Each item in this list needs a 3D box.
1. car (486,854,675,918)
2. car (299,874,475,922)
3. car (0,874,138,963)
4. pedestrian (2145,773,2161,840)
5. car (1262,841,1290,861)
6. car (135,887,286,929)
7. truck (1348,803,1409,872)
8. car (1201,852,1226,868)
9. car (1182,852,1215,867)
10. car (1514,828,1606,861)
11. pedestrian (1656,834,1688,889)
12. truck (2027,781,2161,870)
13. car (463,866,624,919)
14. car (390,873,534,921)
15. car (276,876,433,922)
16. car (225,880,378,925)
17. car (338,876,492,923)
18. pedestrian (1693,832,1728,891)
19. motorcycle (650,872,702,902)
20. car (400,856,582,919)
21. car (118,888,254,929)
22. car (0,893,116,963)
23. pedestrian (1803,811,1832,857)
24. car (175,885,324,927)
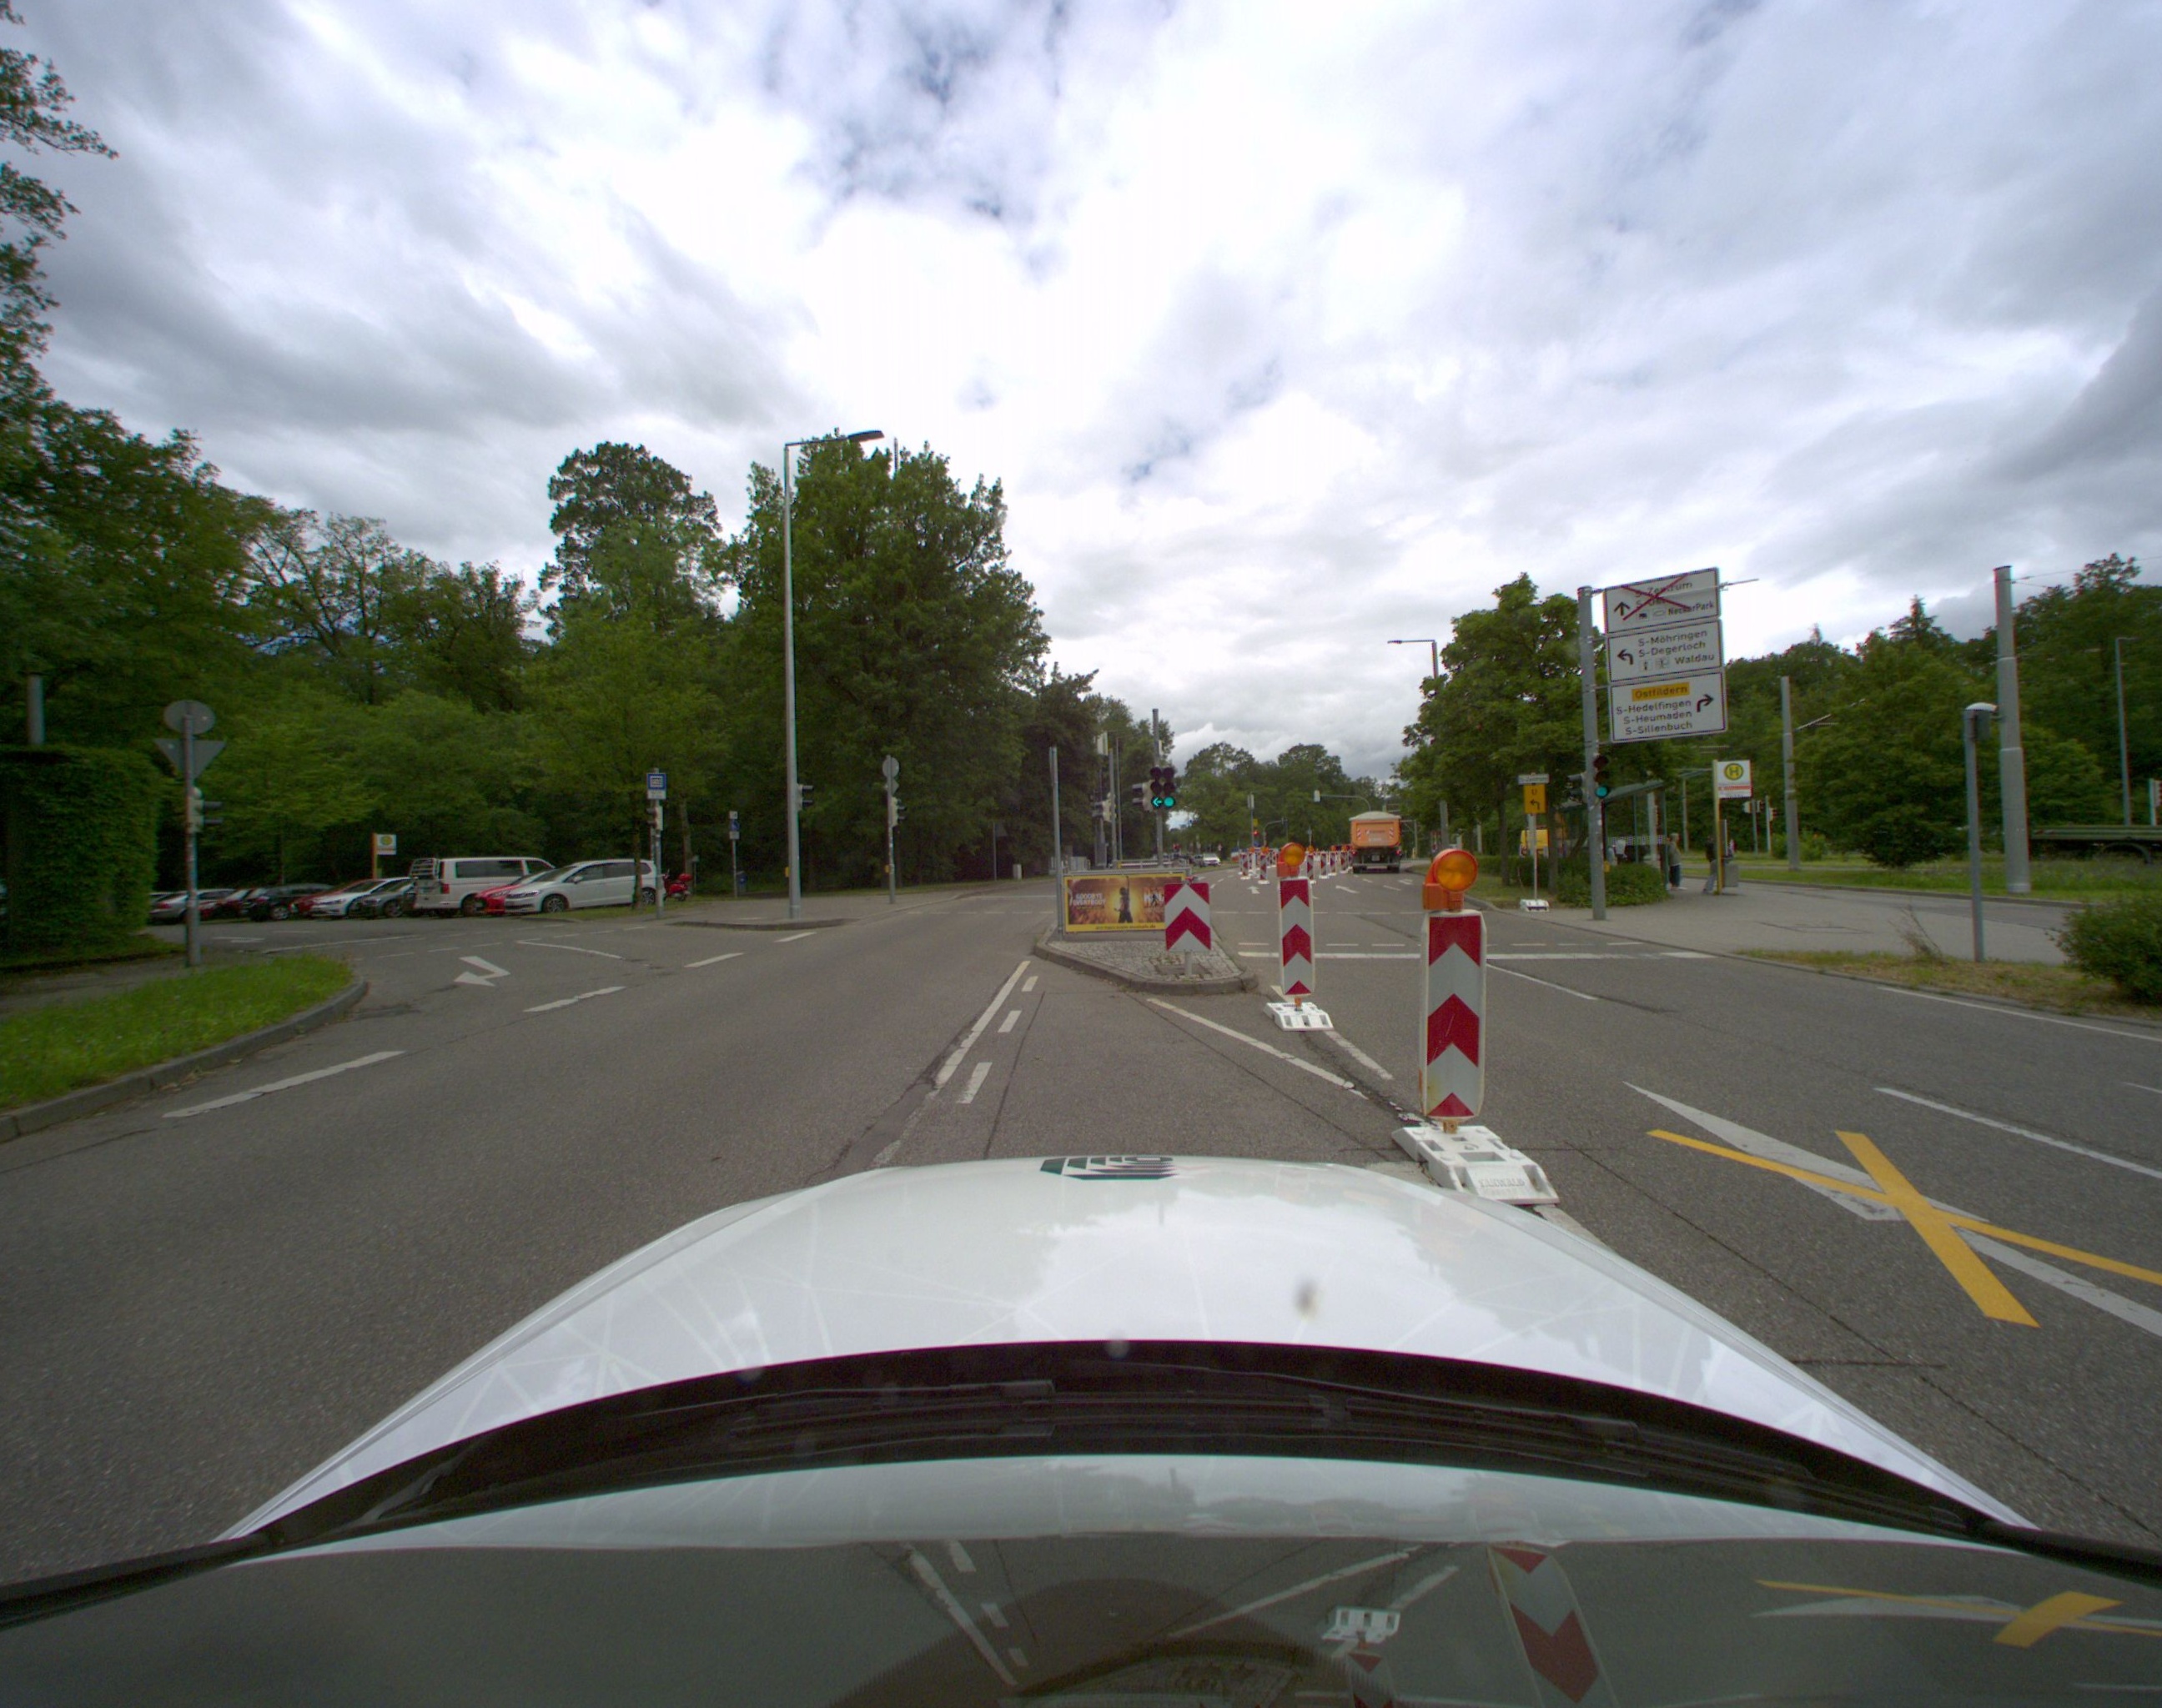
[{"bbox_3d":[-15.759,0.965,25.890,2.137,1.693,4.564,-4,0,33],"label":"car"},{"bbox_3d":[-26.752,1.671,31.613,1.829,1.476,4.817,-2,0,27],"label":"car"},{"bbox_3d":[-26.074,1.613,18.876,1.953,1.915,5.134,-3,1,28],"label":"car"},{"bbox_3d":[49.793,-2.162,37.187,1.024,3.044,1.109,0,-1,-13],"label":"pedestrian"},{"bbox_3d":[17.586,-0.217,73.316,1.780,1.738,3.723,-1,-1,23],"label":"car"},{"bbox_3d":[-38.678,2.363,36.318,1.843,1.461,4.163,-4,0,22],"label":"car"},{"bbox_3d":[17.046,-0.930,46.319,2.834,3.514,8.293,-2,0,22],"label":"truck"},{"bbox_3d":[15.052,0.714,92.589,1.977,1.750,4.601,-1,-1,20],"label":"car"},{"bbox_3d":[15.528,0.716,108.039,2.010,1.882,3.953,0,-1,-41],"label":"car"},{"bbox_3d":[38.105,-0.669,64.947,2.006,2.494,6.089,0,-1,-30],"label":"car"},{"bbox_3d":[16.439,0.209,22.673,0.520,1.516,0.479,0,-1,-2],"label":"pedestrian"},{"bbox_3d":[30.179,-0.773,21.410,2.407,2.352,6.499,0,-1,-20],"label":"truck"},{"bbox_3d":[-17.834,1.225,27.182,1.921,1.555,4.036,-2,-1,34],"label":"car"},{"bbox_3d":[-22.504,1.521,29.739,1.823,1.555,3.756,-1,-1,26],"label":"car"},{"bbox_3d":[-29.130,1.770,32.818,1.896,1.480,4.267,-4,0,24],"label":"car"},{"bbox_3d":[-31.707,1.936,33.253,1.898,1.483,4.023,-3,0,24],"label":"car"},{"bbox_3d":[-24.742,1.643,30.407,1.854,1.483,4.023,-4,-2,26],"label":"car"},{"bbox_3d":[16.282,0.197,21.059,0.520,1.516,0.479,0,-1,-2],"label":"pedestrian"},{"bbox_3d":[-16.367,1.344,32.896,1.988,1.160,0.680,-2,0,21],"label":"motorcycle"},{"bbox_3d":[-20.374,1.102,28.368,2.057,2.021,4.691,-1,-1,27],"label":"car"},{"bbox_3d":[-40.839,2.449,37.254,1.731,1.510,3.733,-4,0,20],"label":"car"},{"bbox_3d":[-23.775,1.660,17.234,1.701,1.379,4.025,-3,0,28],"label":"car"},{"bbox_3d":[36.582,-0.984,40.447,0.616,2.295,0.858,0,-1,-13],"label":"pedestrian"},{"bbox_3d":[-36.150,2.222,35.545,1.918,1.449,4.020,-3,0,20],"label":"car"}]
